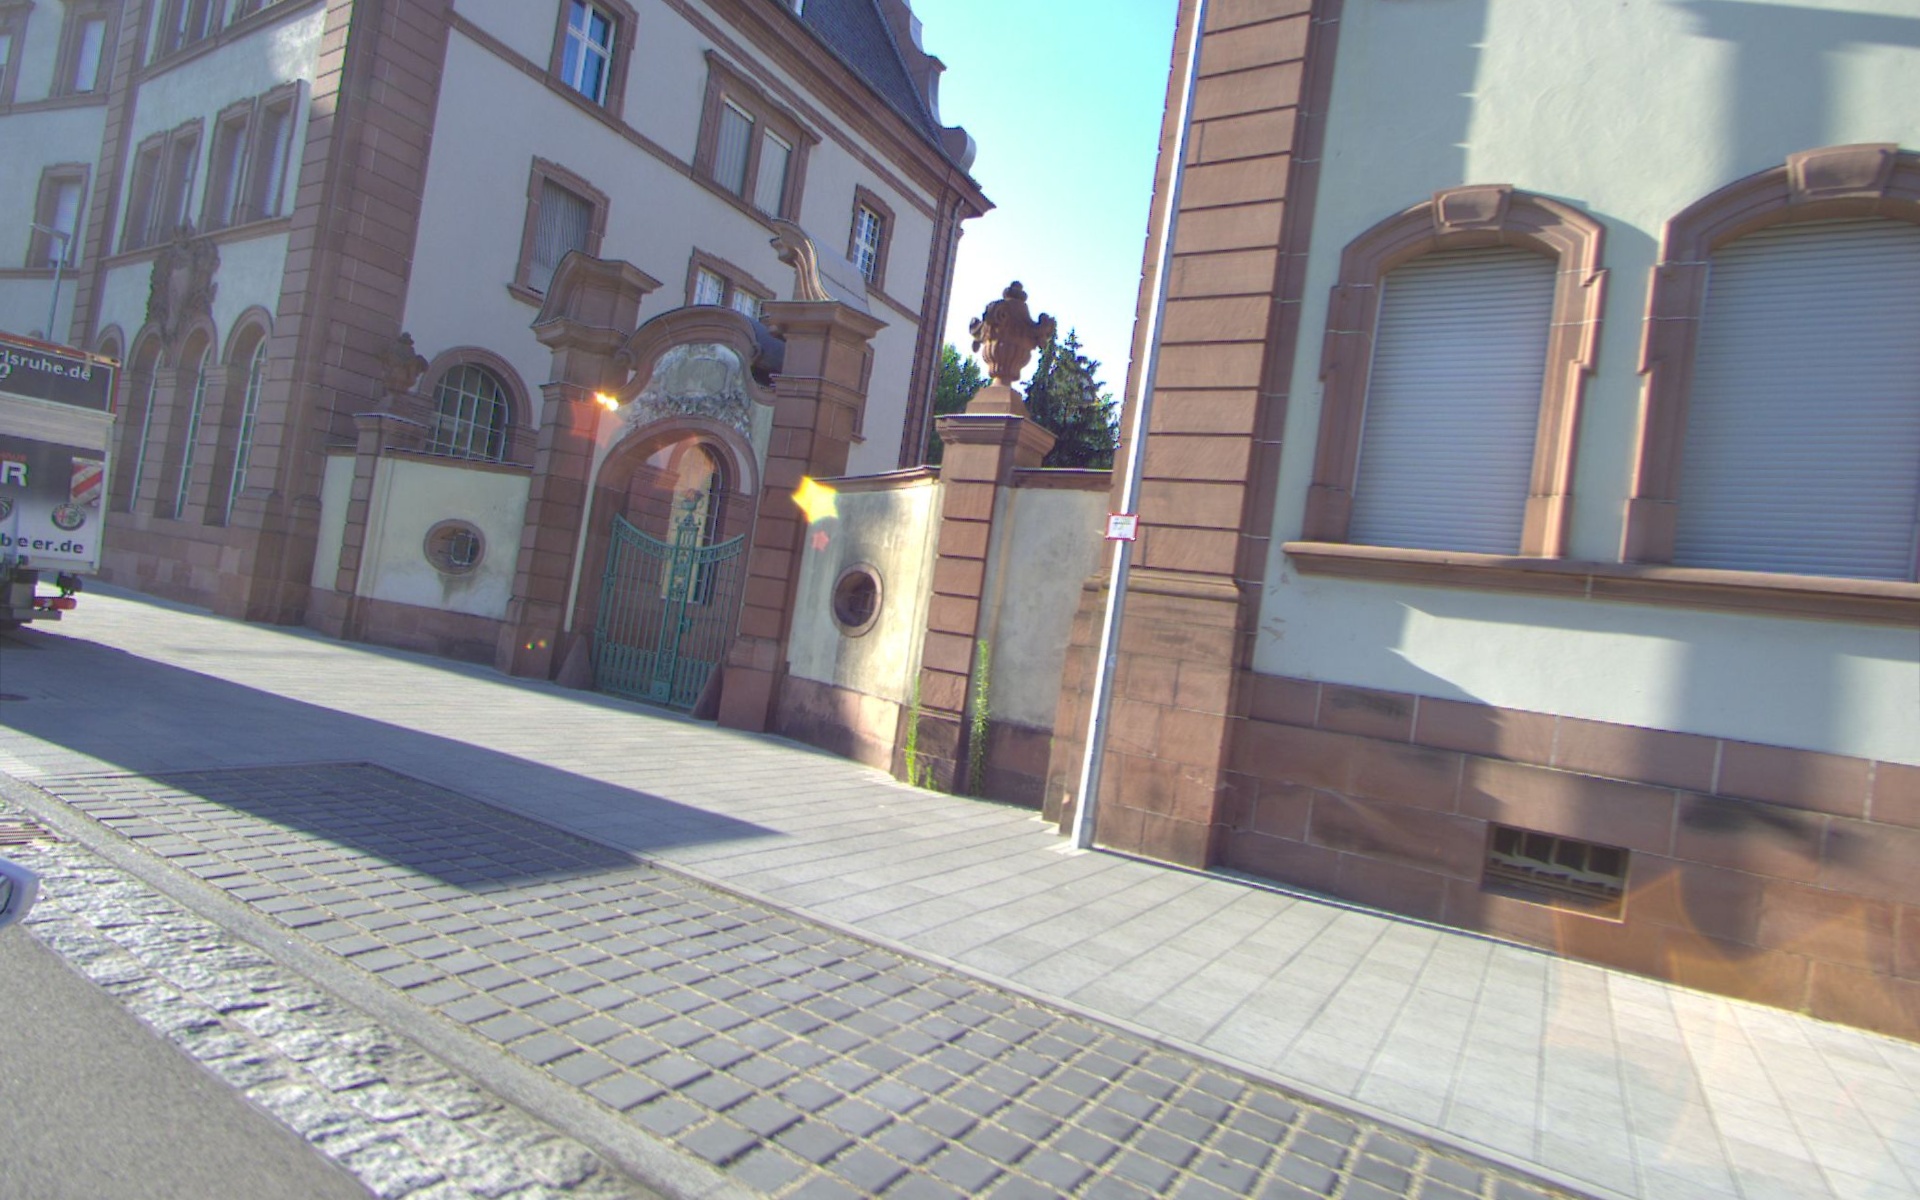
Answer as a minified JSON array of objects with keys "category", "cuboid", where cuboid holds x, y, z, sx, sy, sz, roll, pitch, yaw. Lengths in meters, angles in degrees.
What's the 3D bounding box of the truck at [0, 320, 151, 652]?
[{"category":"truck","cuboid":[-12.022,-1.452,11.008,5.982,3.158,2.629,7,0,29]}]
